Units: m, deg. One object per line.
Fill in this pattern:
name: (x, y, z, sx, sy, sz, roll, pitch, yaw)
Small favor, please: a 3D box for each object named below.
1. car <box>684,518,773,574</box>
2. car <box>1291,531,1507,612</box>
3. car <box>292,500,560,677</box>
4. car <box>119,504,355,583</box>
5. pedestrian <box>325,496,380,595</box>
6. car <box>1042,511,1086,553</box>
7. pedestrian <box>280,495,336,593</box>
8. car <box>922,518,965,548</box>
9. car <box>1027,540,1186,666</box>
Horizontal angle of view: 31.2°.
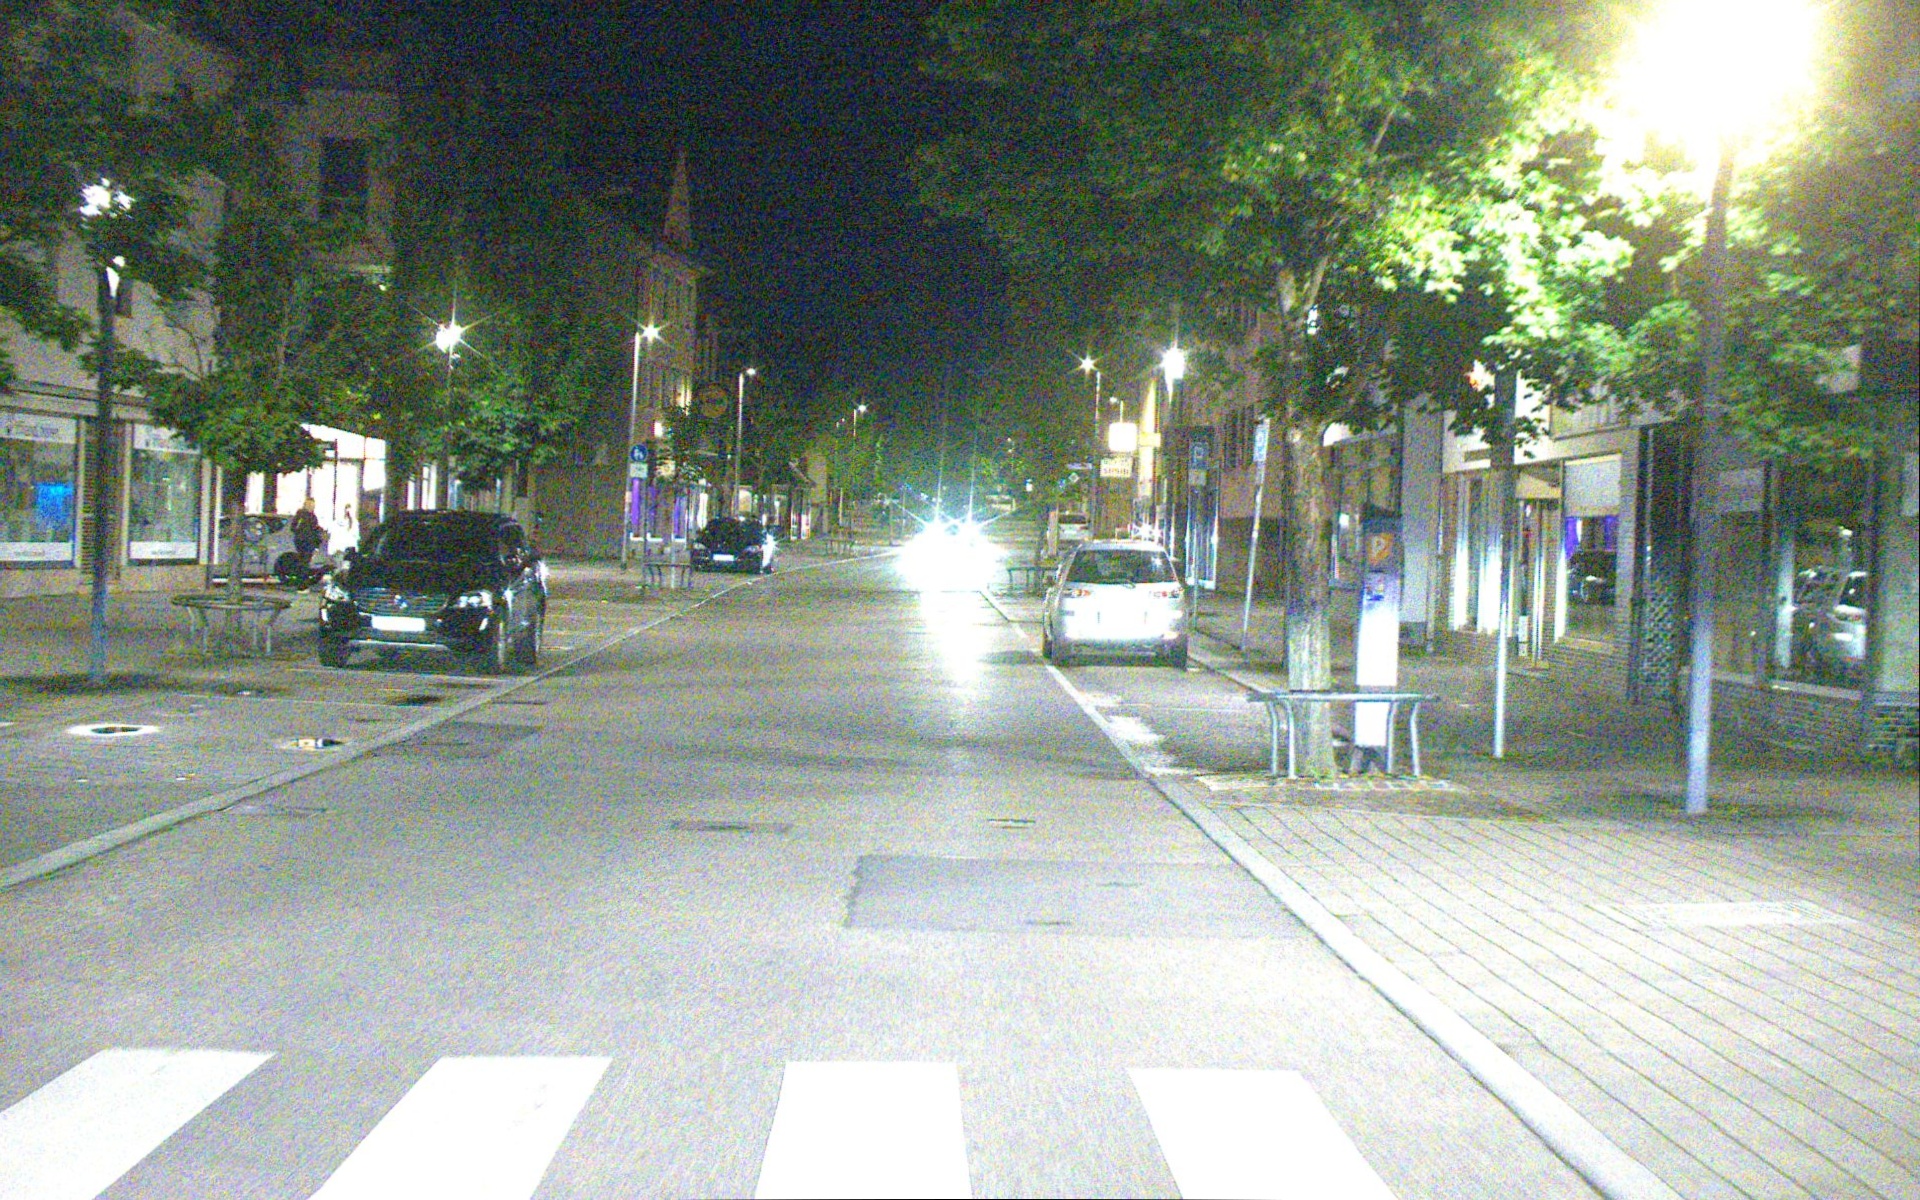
car: (-6.117, -1.452, 91.255, 1.914, 1.366, 4.457, 1, 2, 2)
car: (8.734, -0.571, 68.565, 3.986, 1.471, 1.752, -2, 1, -2)
car: (-5.687, -0.164, 37.210, 2.018, 1.685, 5.003, 3, 1, 0)
car: (-14.145, -1.102, 67.399, 4.167, 1.433, 1.841, -1, 1, 3)
pedestrian: (-10.463, -0.947, 59.253, 0.769, 1.650, 0.782, 1, 3, 1)
car: (4.371, -2.874, 144.679, 1.775, 1.647, 4.364, 1, 2, 1)
pedestrian: (-11.273, -0.981, 59.464, 0.769, 1.650, 0.817, 1, 3, 1)
car: (-0.719, -2.898, 148.580, 1.723, 1.242, 4.237, 1, 1, 1)
car: (1.786, 0.008, 42.885, 1.674, 1.454, 3.676, 1, 1, -2)
